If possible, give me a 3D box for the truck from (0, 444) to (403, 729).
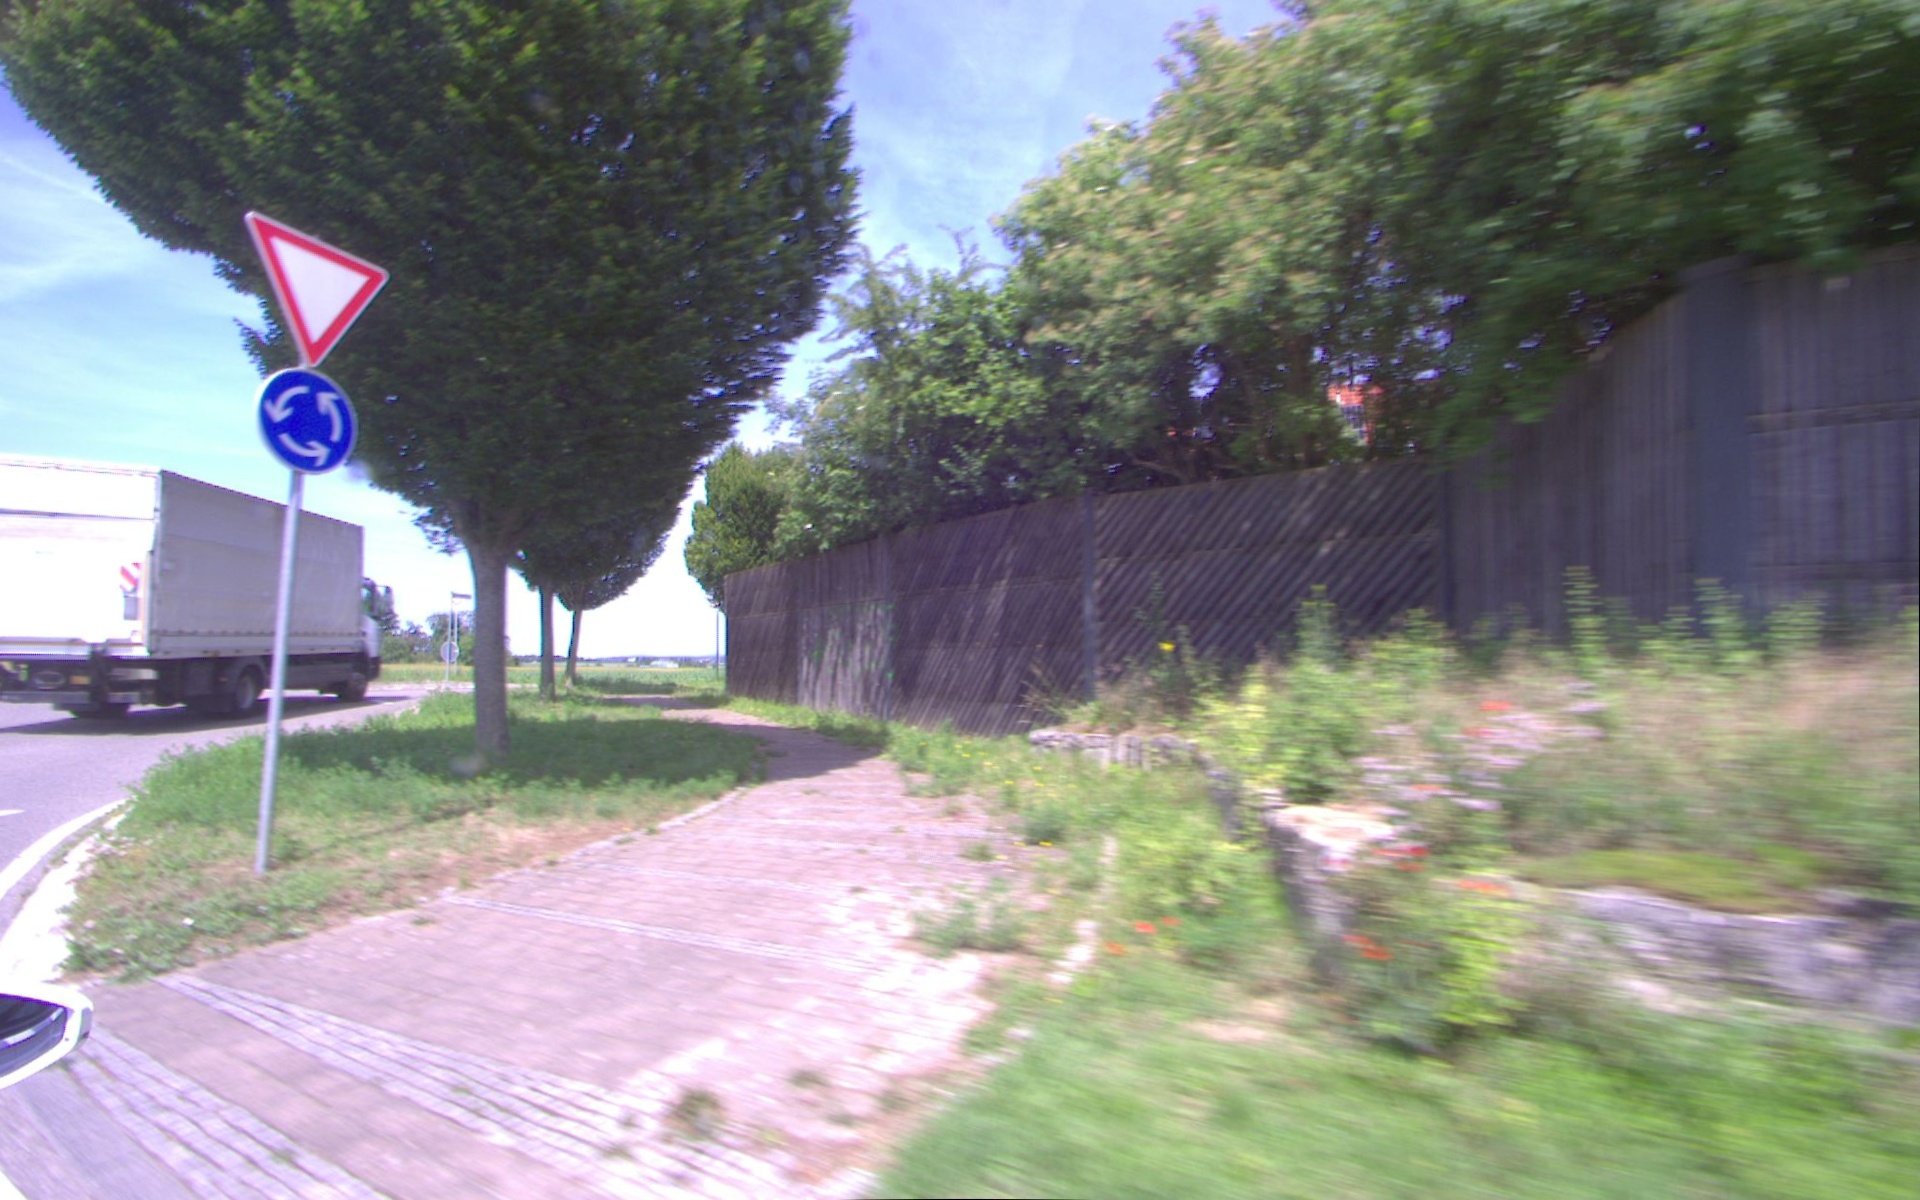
[{"bbox_3d":[-13.069,-0.004,17.831,2.725,3.717,9.377,2,-2,-12],"label":"truck"}]
